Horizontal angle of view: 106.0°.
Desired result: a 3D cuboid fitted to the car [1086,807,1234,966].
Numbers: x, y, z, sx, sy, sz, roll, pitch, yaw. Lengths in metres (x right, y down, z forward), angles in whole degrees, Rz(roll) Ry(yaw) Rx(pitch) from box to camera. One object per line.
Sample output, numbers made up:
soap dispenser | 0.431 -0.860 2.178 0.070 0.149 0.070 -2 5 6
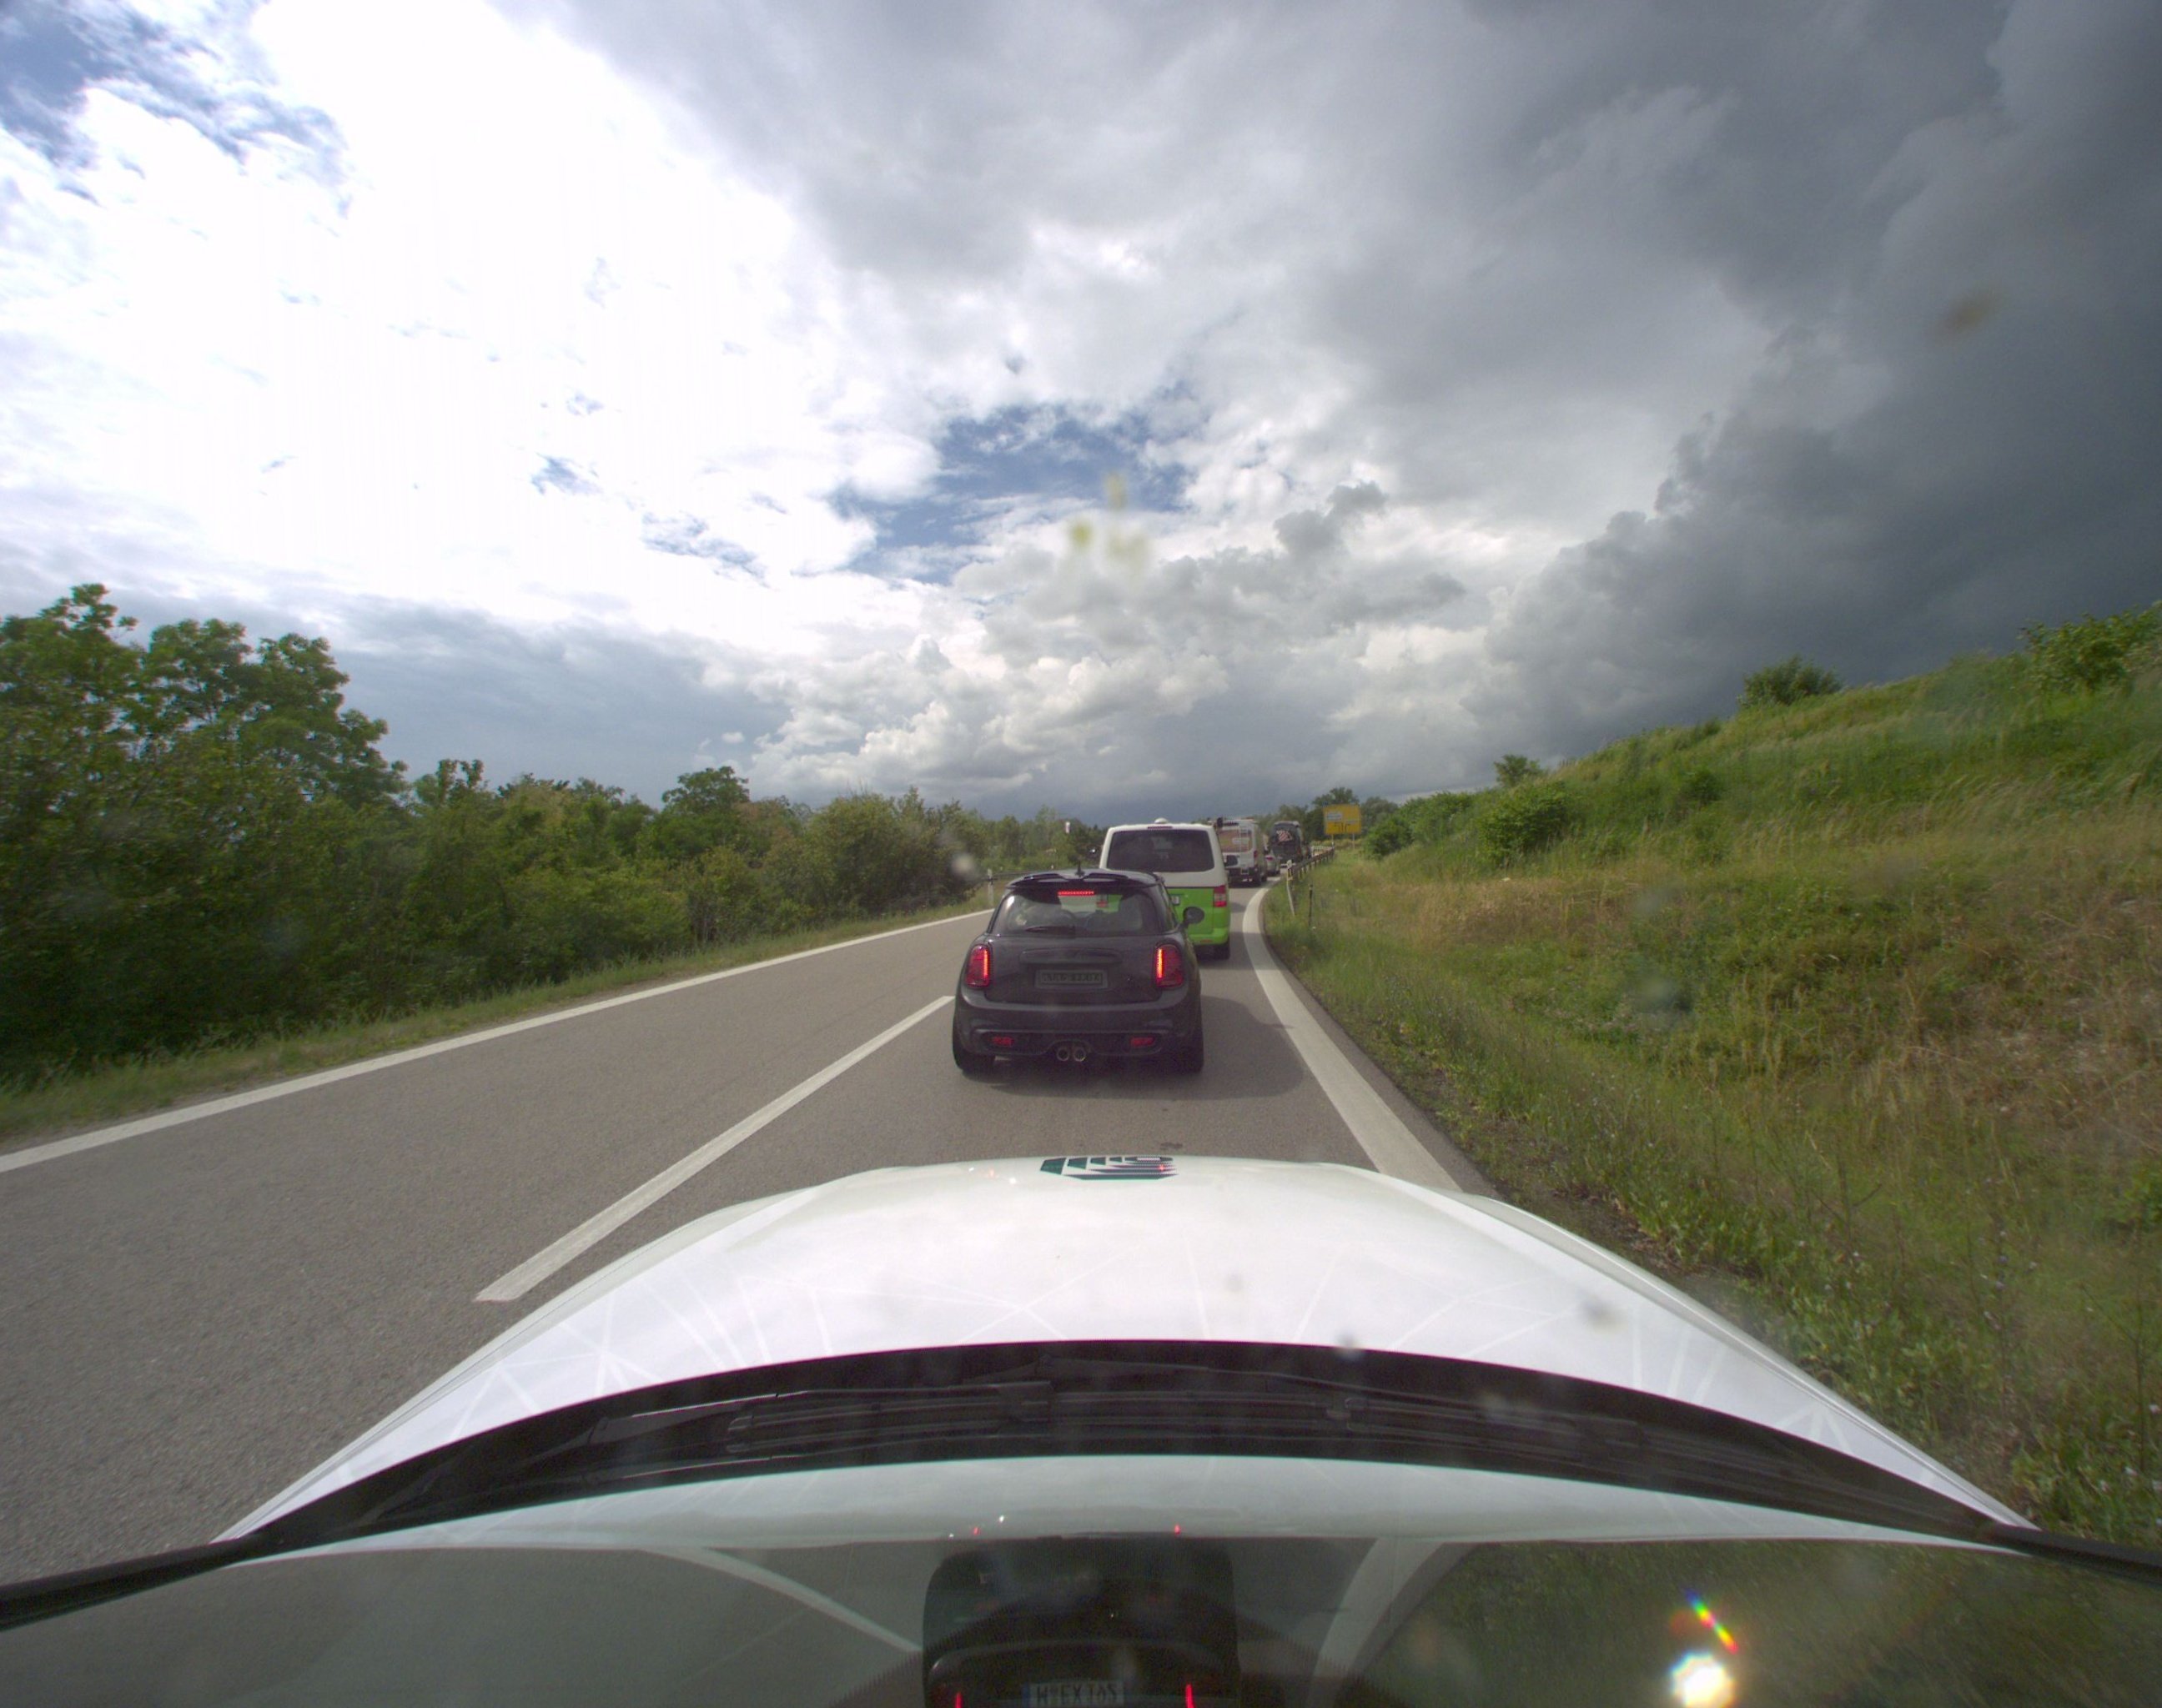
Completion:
car | 1.401 0.436 12.741 1.899 2.045 4.193 -1 0 10

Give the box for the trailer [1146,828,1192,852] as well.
trailer | 14.800 -2.284 138.101 3.056 3.898 8.685 0 -1 -31

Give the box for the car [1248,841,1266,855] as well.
car | 24.768 -0.889 114.764 2.084 1.883 4.504 0 -1 7

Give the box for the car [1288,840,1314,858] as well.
car | 19.683 -0.435 72.731 1.877 1.588 4.518 -1 -1 20

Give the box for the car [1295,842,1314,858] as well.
car | 27.448 -0.501 100.138 2.080 1.883 4.511 -1 -1 13

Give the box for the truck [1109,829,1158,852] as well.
truck | 9.311 -2.320 145.538 2.859 3.976 9.915 0 -1 -38

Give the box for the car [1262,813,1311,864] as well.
car | 13.329 -0.889 52.553 2.291 3.069 6.696 -1 -1 21

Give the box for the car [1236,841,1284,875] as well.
car | 9.044 0.207 40.928 1.978 1.642 3.946 -1 -1 17

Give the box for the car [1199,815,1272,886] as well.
car | 6.313 -0.106 32.776 2.194 2.622 5.559 -1 -1 17

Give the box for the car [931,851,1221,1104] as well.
car | 0.151 0.768 6.944 1.790 1.546 3.745 -1 0 6
